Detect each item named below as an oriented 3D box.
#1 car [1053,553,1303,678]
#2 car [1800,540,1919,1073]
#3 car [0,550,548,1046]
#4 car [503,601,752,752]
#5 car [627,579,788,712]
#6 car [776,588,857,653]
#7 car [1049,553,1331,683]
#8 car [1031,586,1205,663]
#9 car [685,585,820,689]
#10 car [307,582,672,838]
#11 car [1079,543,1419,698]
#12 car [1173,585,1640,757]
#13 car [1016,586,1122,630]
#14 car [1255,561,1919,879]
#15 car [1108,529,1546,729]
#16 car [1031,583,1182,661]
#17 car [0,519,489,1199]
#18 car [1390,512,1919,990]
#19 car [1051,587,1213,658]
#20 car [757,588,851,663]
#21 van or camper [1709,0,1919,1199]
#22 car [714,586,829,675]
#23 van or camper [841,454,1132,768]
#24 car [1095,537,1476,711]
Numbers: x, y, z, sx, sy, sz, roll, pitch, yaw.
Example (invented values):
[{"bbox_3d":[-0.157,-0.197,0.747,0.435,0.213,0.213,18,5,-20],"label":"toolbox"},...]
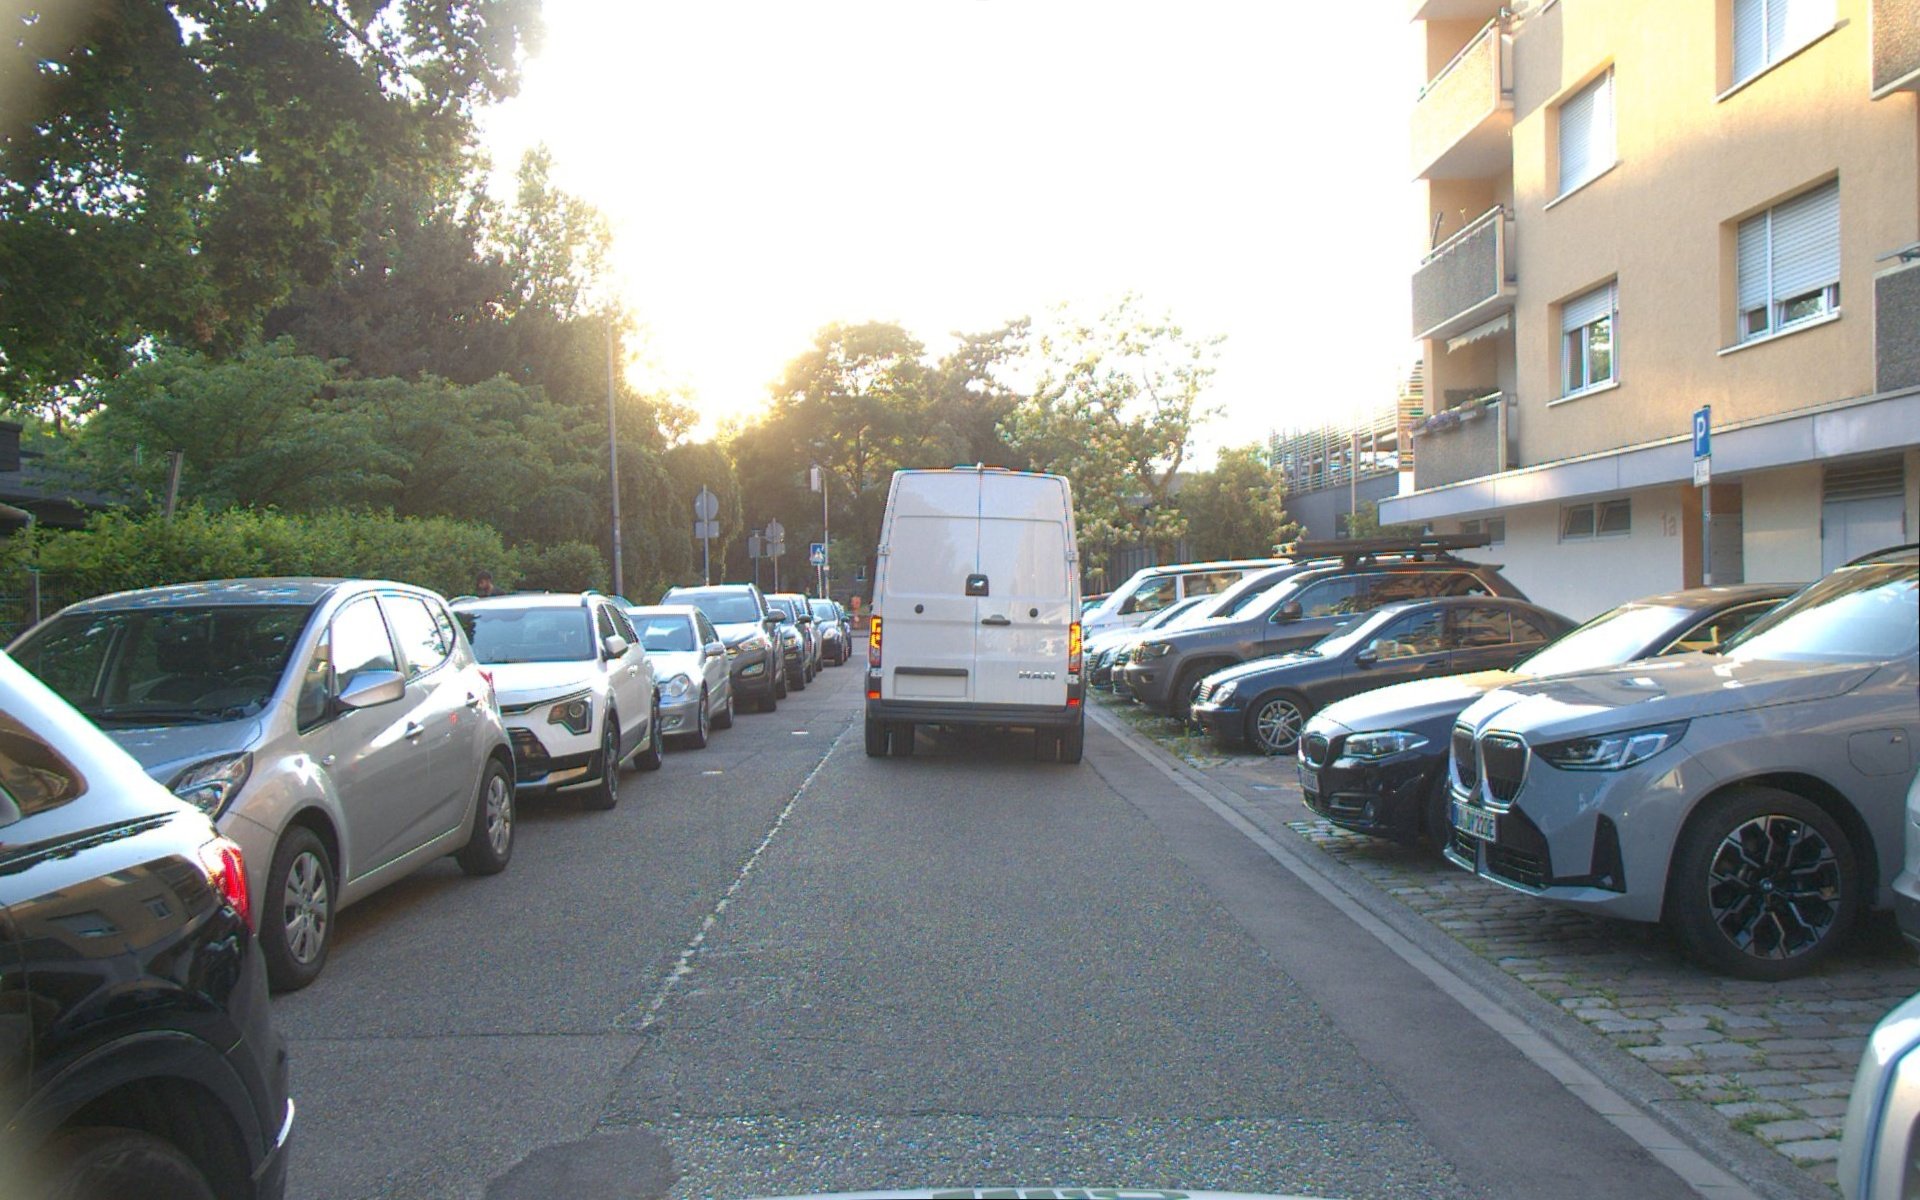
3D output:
[{"bbox_3d":[4.036,0.278,31.145,4.405,2.269,2.031,0,0,-2],"label":"car"},{"bbox_3d":[5.100,0.562,4.960,4.350,1.623,1.770,-2,0,-7],"label":"car"},{"bbox_3d":[-3.358,0.693,7.665,1.746,1.659,4.001,-3,0,1],"label":"car"},{"bbox_3d":[-3.433,0.730,17.823,1.953,1.422,3.999,0,0,-1],"label":"car"},{"bbox_3d":[-3.413,0.569,23.031,1.955,1.691,3.996,0,0,-5],"label":"car"},{"bbox_3d":[-3.745,0.514,43.776,1.953,1.646,3.998,0,0,-3],"label":"car"},{"bbox_3d":[3.950,0.304,28.959,4.611,2.183,1.999,0,0,-3],"label":"car"},{"bbox_3d":[3.666,0.554,39.007,3.905,1.758,2.000,0,0,-1],"label":"car"},{"bbox_3d":[-3.461,0.580,28.238,1.953,1.646,3.998,0,0,-3],"label":"car"},{"bbox_3d":[-3.398,0.700,12.770,1.819,1.582,4.097,-2,0,-4],"label":"car"},{"bbox_3d":[4.147,0.285,24.284,4.611,2.183,1.999,0,0,-3],"label":"car"},{"bbox_3d":[4.350,0.666,16.537,4.151,1.450,1.719,-2,0,-2],"label":"car"},{"bbox_3d":[4.210,0.302,64.330,3.909,1.646,1.998,0,0,-5],"label":"car"},{"bbox_3d":[3.950,0.619,9.885,3.910,1.479,1.833,-3,0,-5],"label":"car"},{"bbox_3d":[4.139,0.314,19.188,4.611,2.183,1.999,0,0,-3],"label":"car"},{"bbox_3d":[3.888,0.567,44.370,3.905,2.049,2.000,0,0,1],"label":"car"},{"bbox_3d":[-2.104,0.726,1.201,1.766,1.596,4.568,-1,0,6],"label":"car"},{"bbox_3d":[4.353,0.511,7.372,4.350,1.758,1.770,-2,0,-7],"label":"car"},{"bbox_3d":[4.323,0.551,42.057,3.905,1.758,2.000,0,0,-1],"label":"car"},{"bbox_3d":[-3.557,0.546,38.268,1.953,1.646,3.998,0,0,-3],"label":"car"},{"bbox_3d":[4.228,0.046,1.913,5.809,2.818,2.109,0,0,-2],"label":"van or camper"},{"bbox_3d":[-3.635,0.554,32.547,1.953,1.646,3.998,0,0,-3],"label":"car"},{"bbox_3d":[0.320,0.076,16.981,2.403,2.591,6.084,1,0,2],"label":"van or camper"},{"bbox_3d":[4.198,0.300,21.858,4.611,2.183,1.999,0,0,-3],"label":"car"}]
